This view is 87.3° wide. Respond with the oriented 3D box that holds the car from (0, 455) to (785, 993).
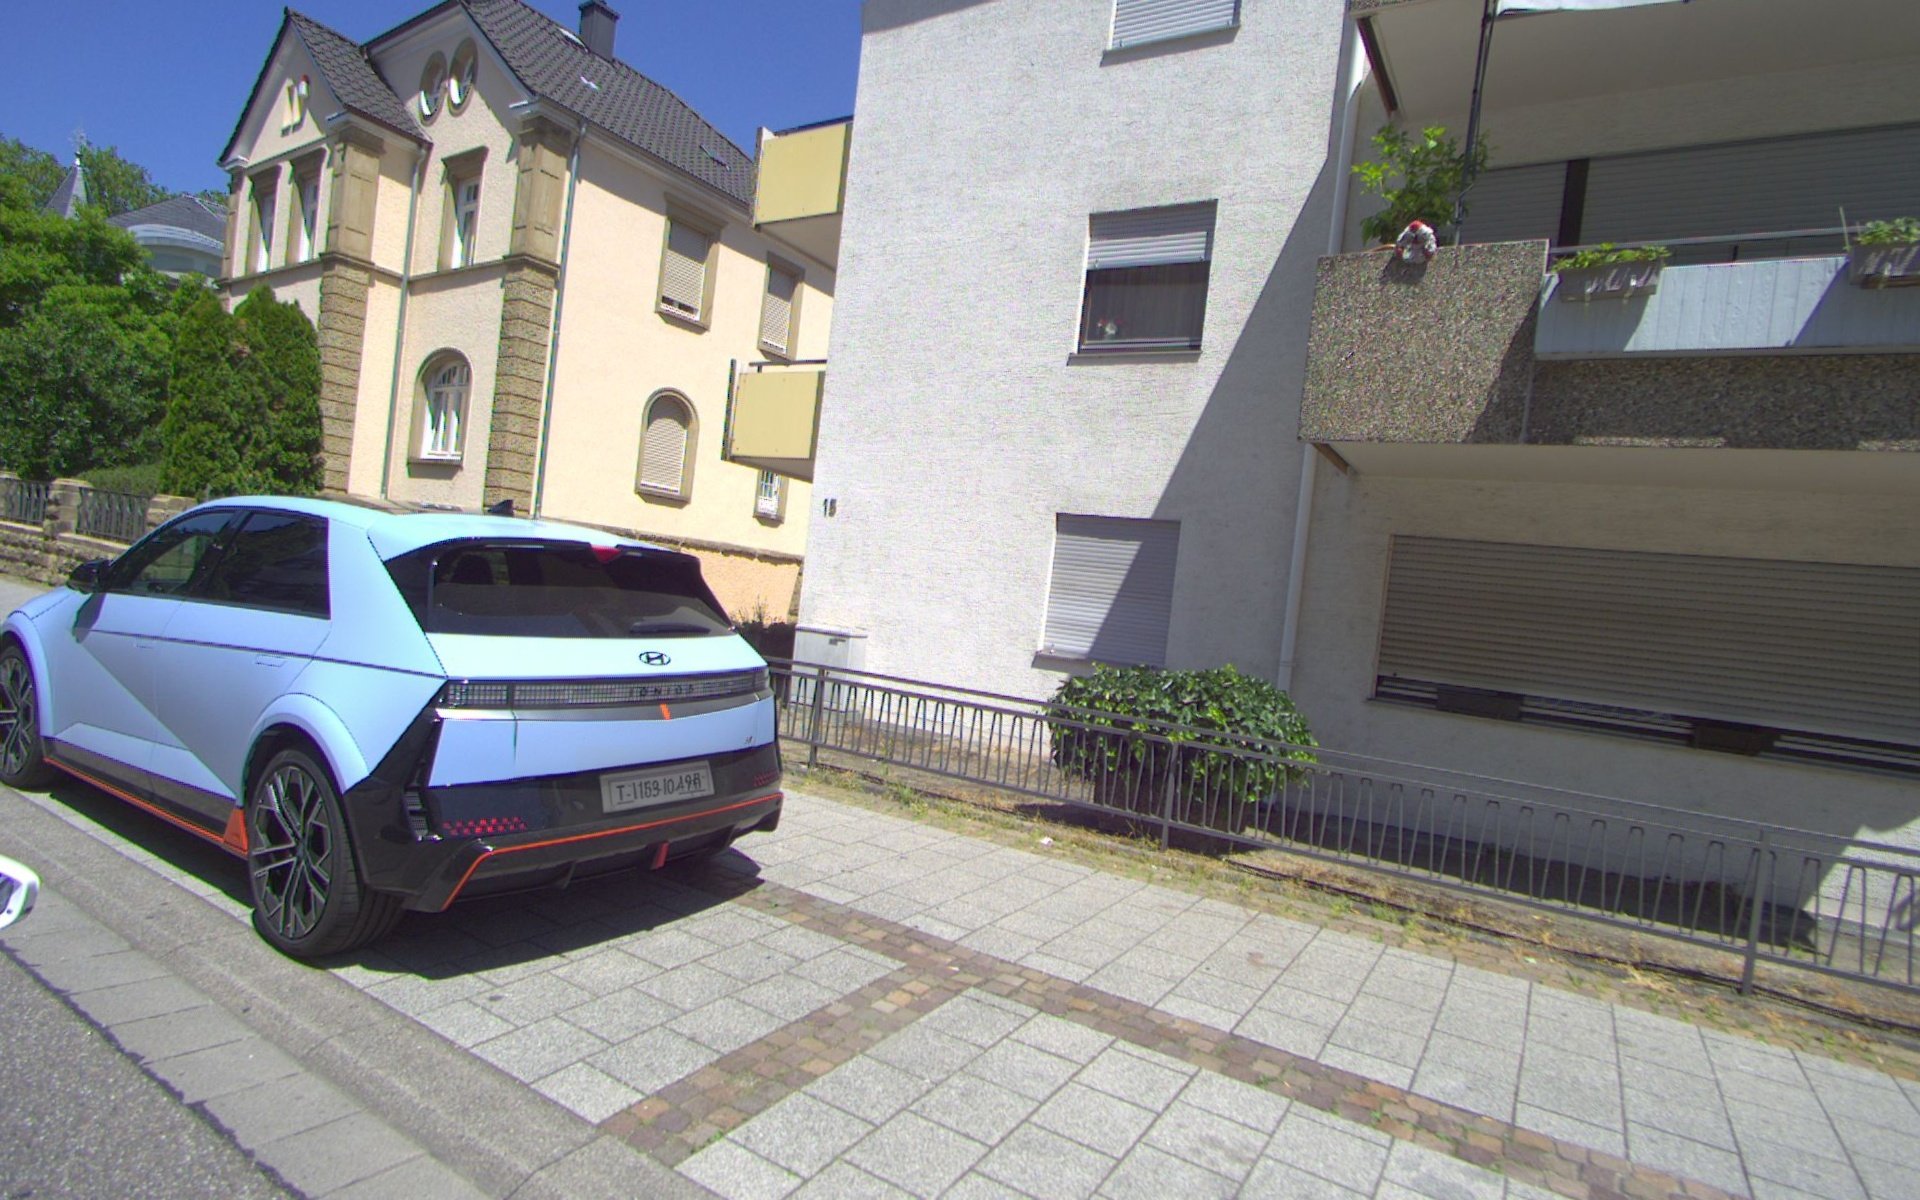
[{"bbox_3d":[-3.199,0.256,5.135,4.355,1.641,1.843,7,2,33],"label":"car"}]
